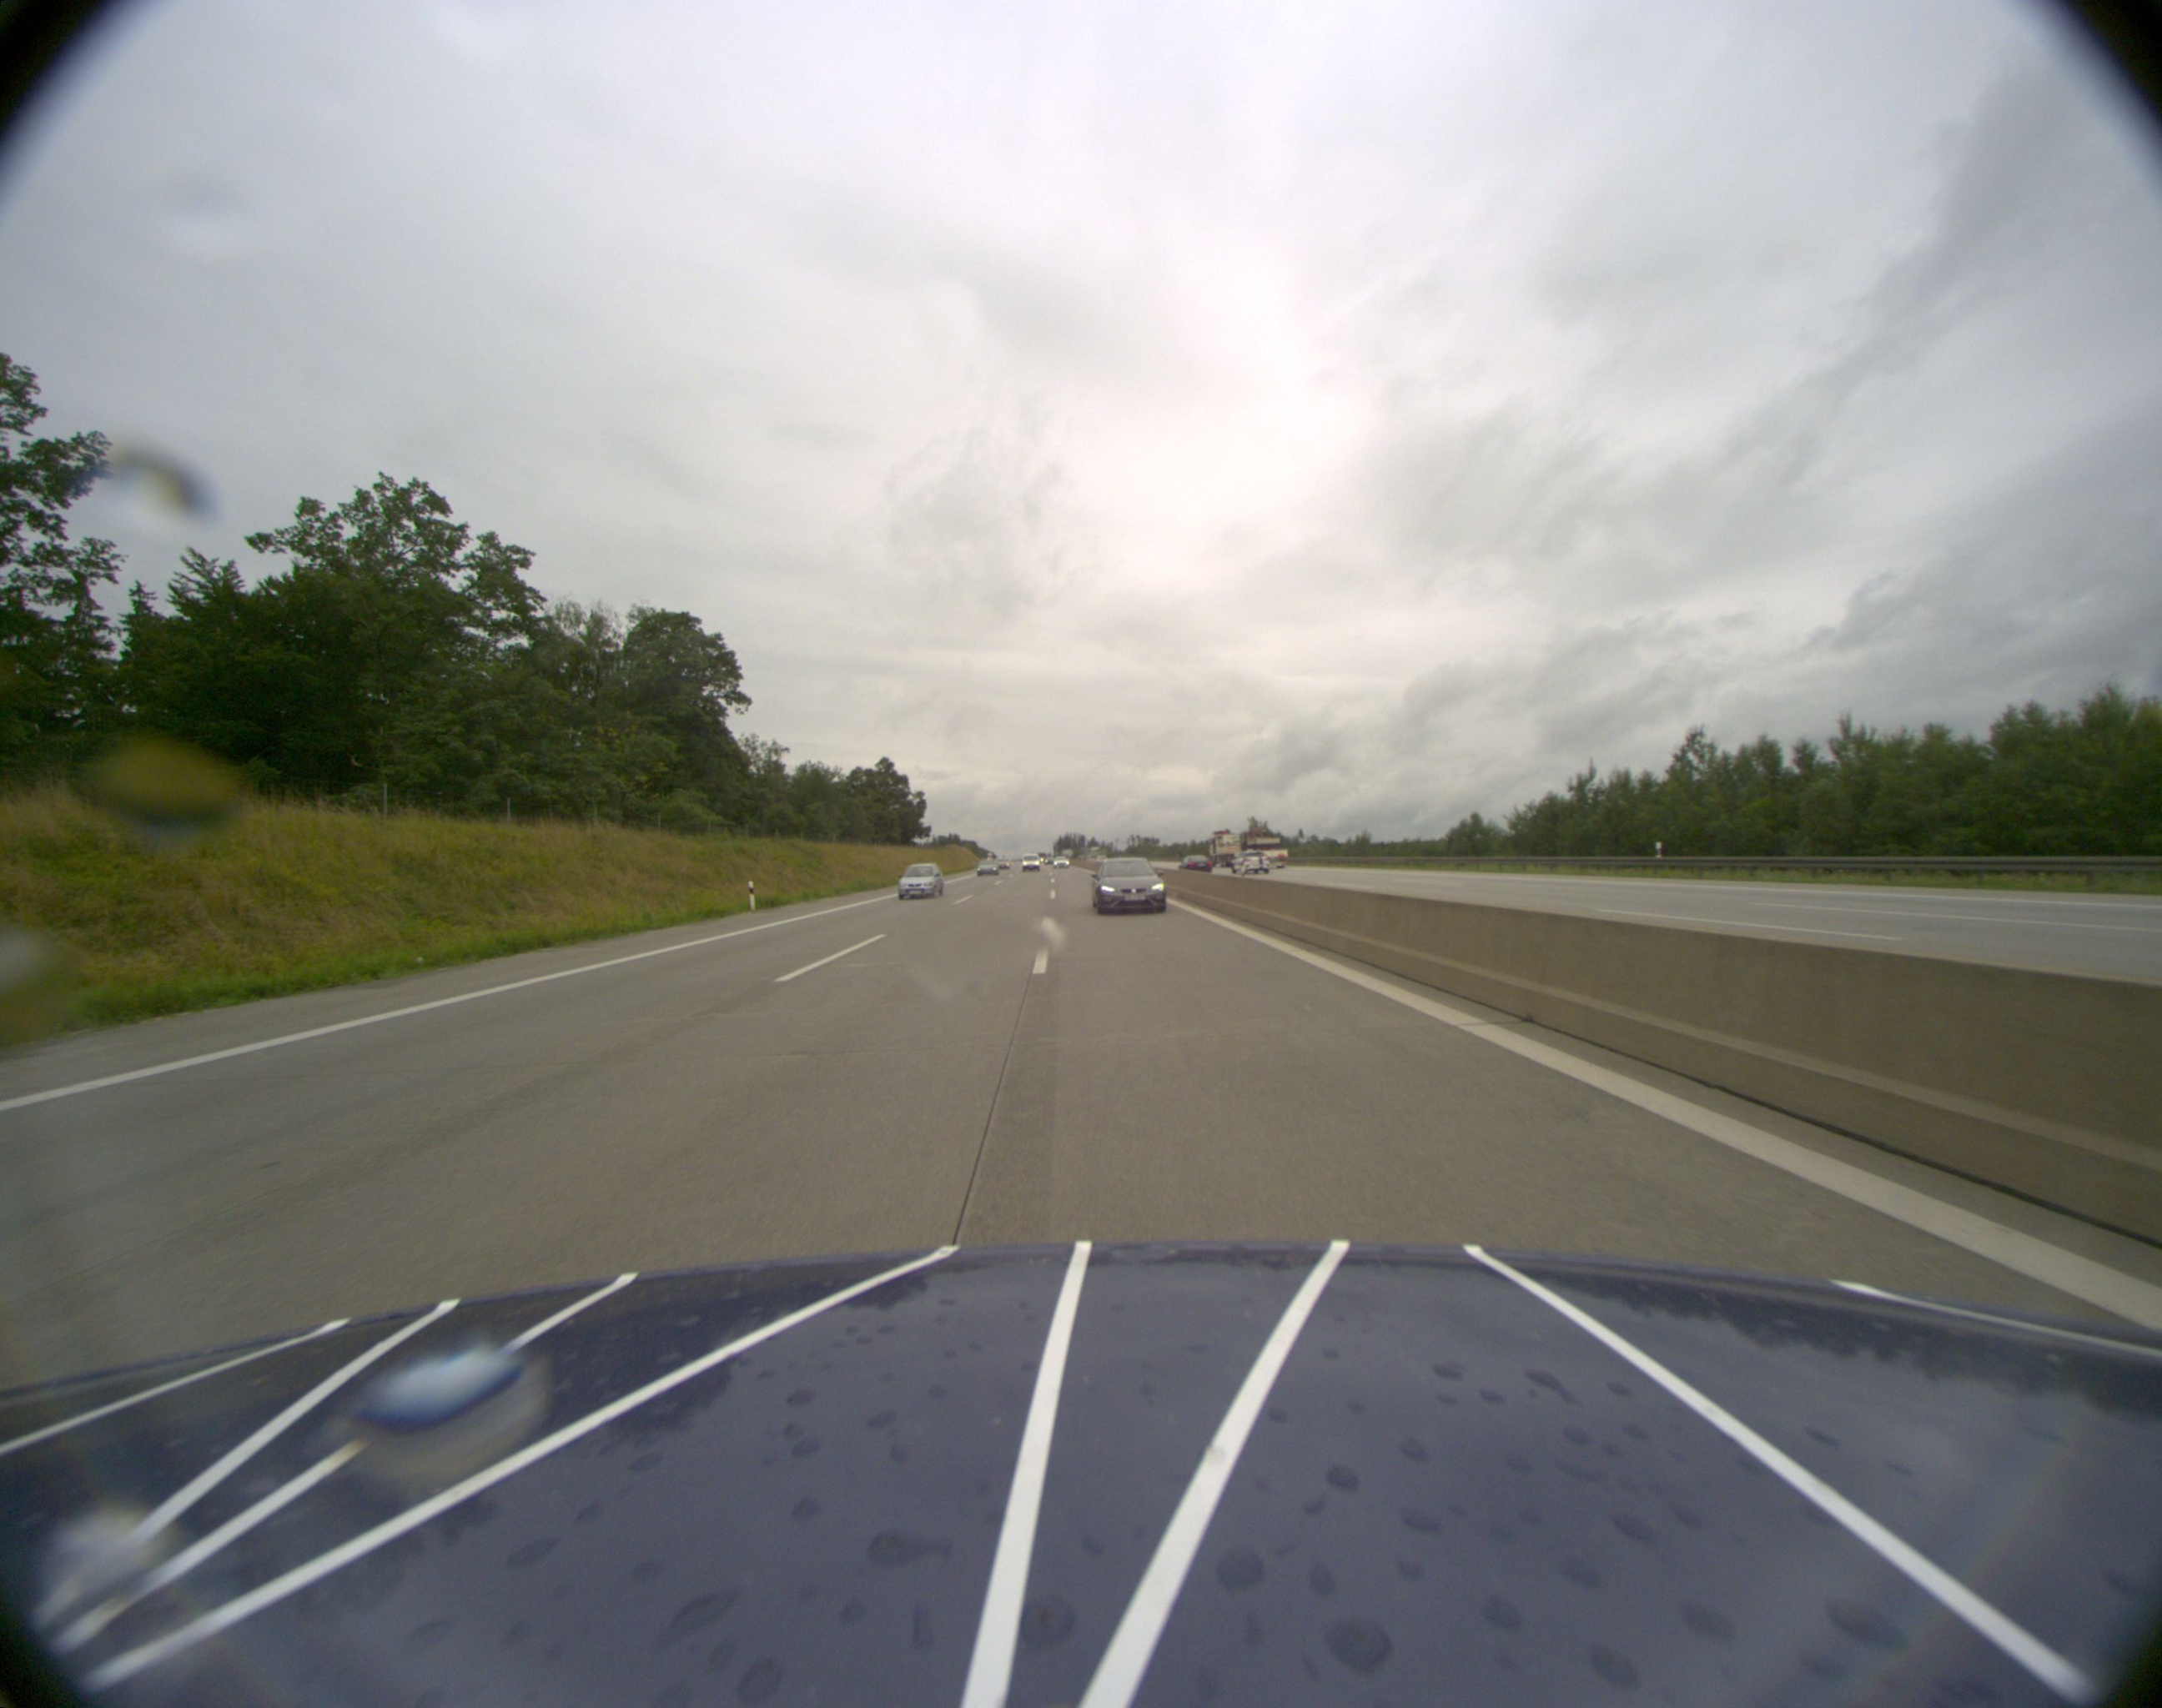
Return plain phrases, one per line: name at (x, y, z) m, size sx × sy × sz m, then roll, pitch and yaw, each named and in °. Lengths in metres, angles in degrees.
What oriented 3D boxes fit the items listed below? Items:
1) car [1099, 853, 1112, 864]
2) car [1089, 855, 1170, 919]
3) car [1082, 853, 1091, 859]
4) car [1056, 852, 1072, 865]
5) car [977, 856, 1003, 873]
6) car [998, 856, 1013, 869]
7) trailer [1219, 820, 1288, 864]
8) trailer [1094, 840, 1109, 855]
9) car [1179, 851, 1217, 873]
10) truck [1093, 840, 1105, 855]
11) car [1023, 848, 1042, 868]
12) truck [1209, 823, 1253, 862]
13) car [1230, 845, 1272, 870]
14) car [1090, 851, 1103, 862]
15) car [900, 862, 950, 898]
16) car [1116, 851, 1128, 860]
car at (3.801, 0.717, 119.162) m, size 1.719 × 1.412 × 4.213 m, roll -5°, pitch -1°, yaw -1°
car at (1.211, 0.806, 20.798) m, size 1.790 × 1.472 × 4.570 m, roll -1°, pitch 0°, yaw -1°
car at (1.335, 0.537, 198.894) m, size 1.999 × 1.580 × 4.769 m, roll -2°, pitch 0°, yaw -4°
car at (-2.195, 0.623, 97.753) m, size 1.999 × 1.632 × 5.042 m, roll 1°, pitch -1°, yaw -2°
car at (-8.585, 1.026, 72.174) m, size 2.020 × 1.437 × 4.744 m, roll -3°, pitch -1°, yaw -2°
car at (-10.139, 1.136, 102.264) m, size 1.791 × 1.595 × 4.568 m, roll 1°, pitch -1°, yaw -8°
trailer at (15.443, -1.046, 69.253) m, size 2.594 × 3.522 × 13.718 m, roll -1°, pitch 1°, yaw -2°
trailer at (5.305, -1.643, 197.146) m, size 2.757 × 3.778 × 9.312 m, roll -2°, pitch 0°, yaw -4°
car at (8.126, 0.519, 53.315) m, size 1.767 × 1.260 × 4.490 m, roll 0°, pitch 3°, yaw -3°
truck at (4.863, -1.671, 203.548) m, size 2.758 × 3.780 × 5.528 m, roll -2°, pitch 1°, yaw -4°
car at (-5.360, 0.444, 84.377) m, size 2.043 × 2.111 × 6.067 m, roll 1°, pitch -1°, yaw -3°
truck at (15.090, -1.100, 77.036) m, size 2.593 × 3.631 × 7.658 m, roll -2°, pitch 0°, yaw -2°
car at (11.645, 0.231, 52.408) m, size 1.767 × 1.577 × 4.757 m, roll -3°, pitch 0°, yaw 0°
car at (2.901, 0.541, 142.280) m, size 1.999 × 2.001 × 5.524 m, roll -1°, pitch -1°, yaw -3°
car at (-6.674, 1.084, 32.770) m, size 1.489 × 1.462 × 3.504 m, roll -2°, pitch -1°, yaw -2°
car at (7.473, 0.338, 137.354) m, size 1.741 × 1.359 × 4.097 m, roll -5°, pitch -1°, yaw -1°
